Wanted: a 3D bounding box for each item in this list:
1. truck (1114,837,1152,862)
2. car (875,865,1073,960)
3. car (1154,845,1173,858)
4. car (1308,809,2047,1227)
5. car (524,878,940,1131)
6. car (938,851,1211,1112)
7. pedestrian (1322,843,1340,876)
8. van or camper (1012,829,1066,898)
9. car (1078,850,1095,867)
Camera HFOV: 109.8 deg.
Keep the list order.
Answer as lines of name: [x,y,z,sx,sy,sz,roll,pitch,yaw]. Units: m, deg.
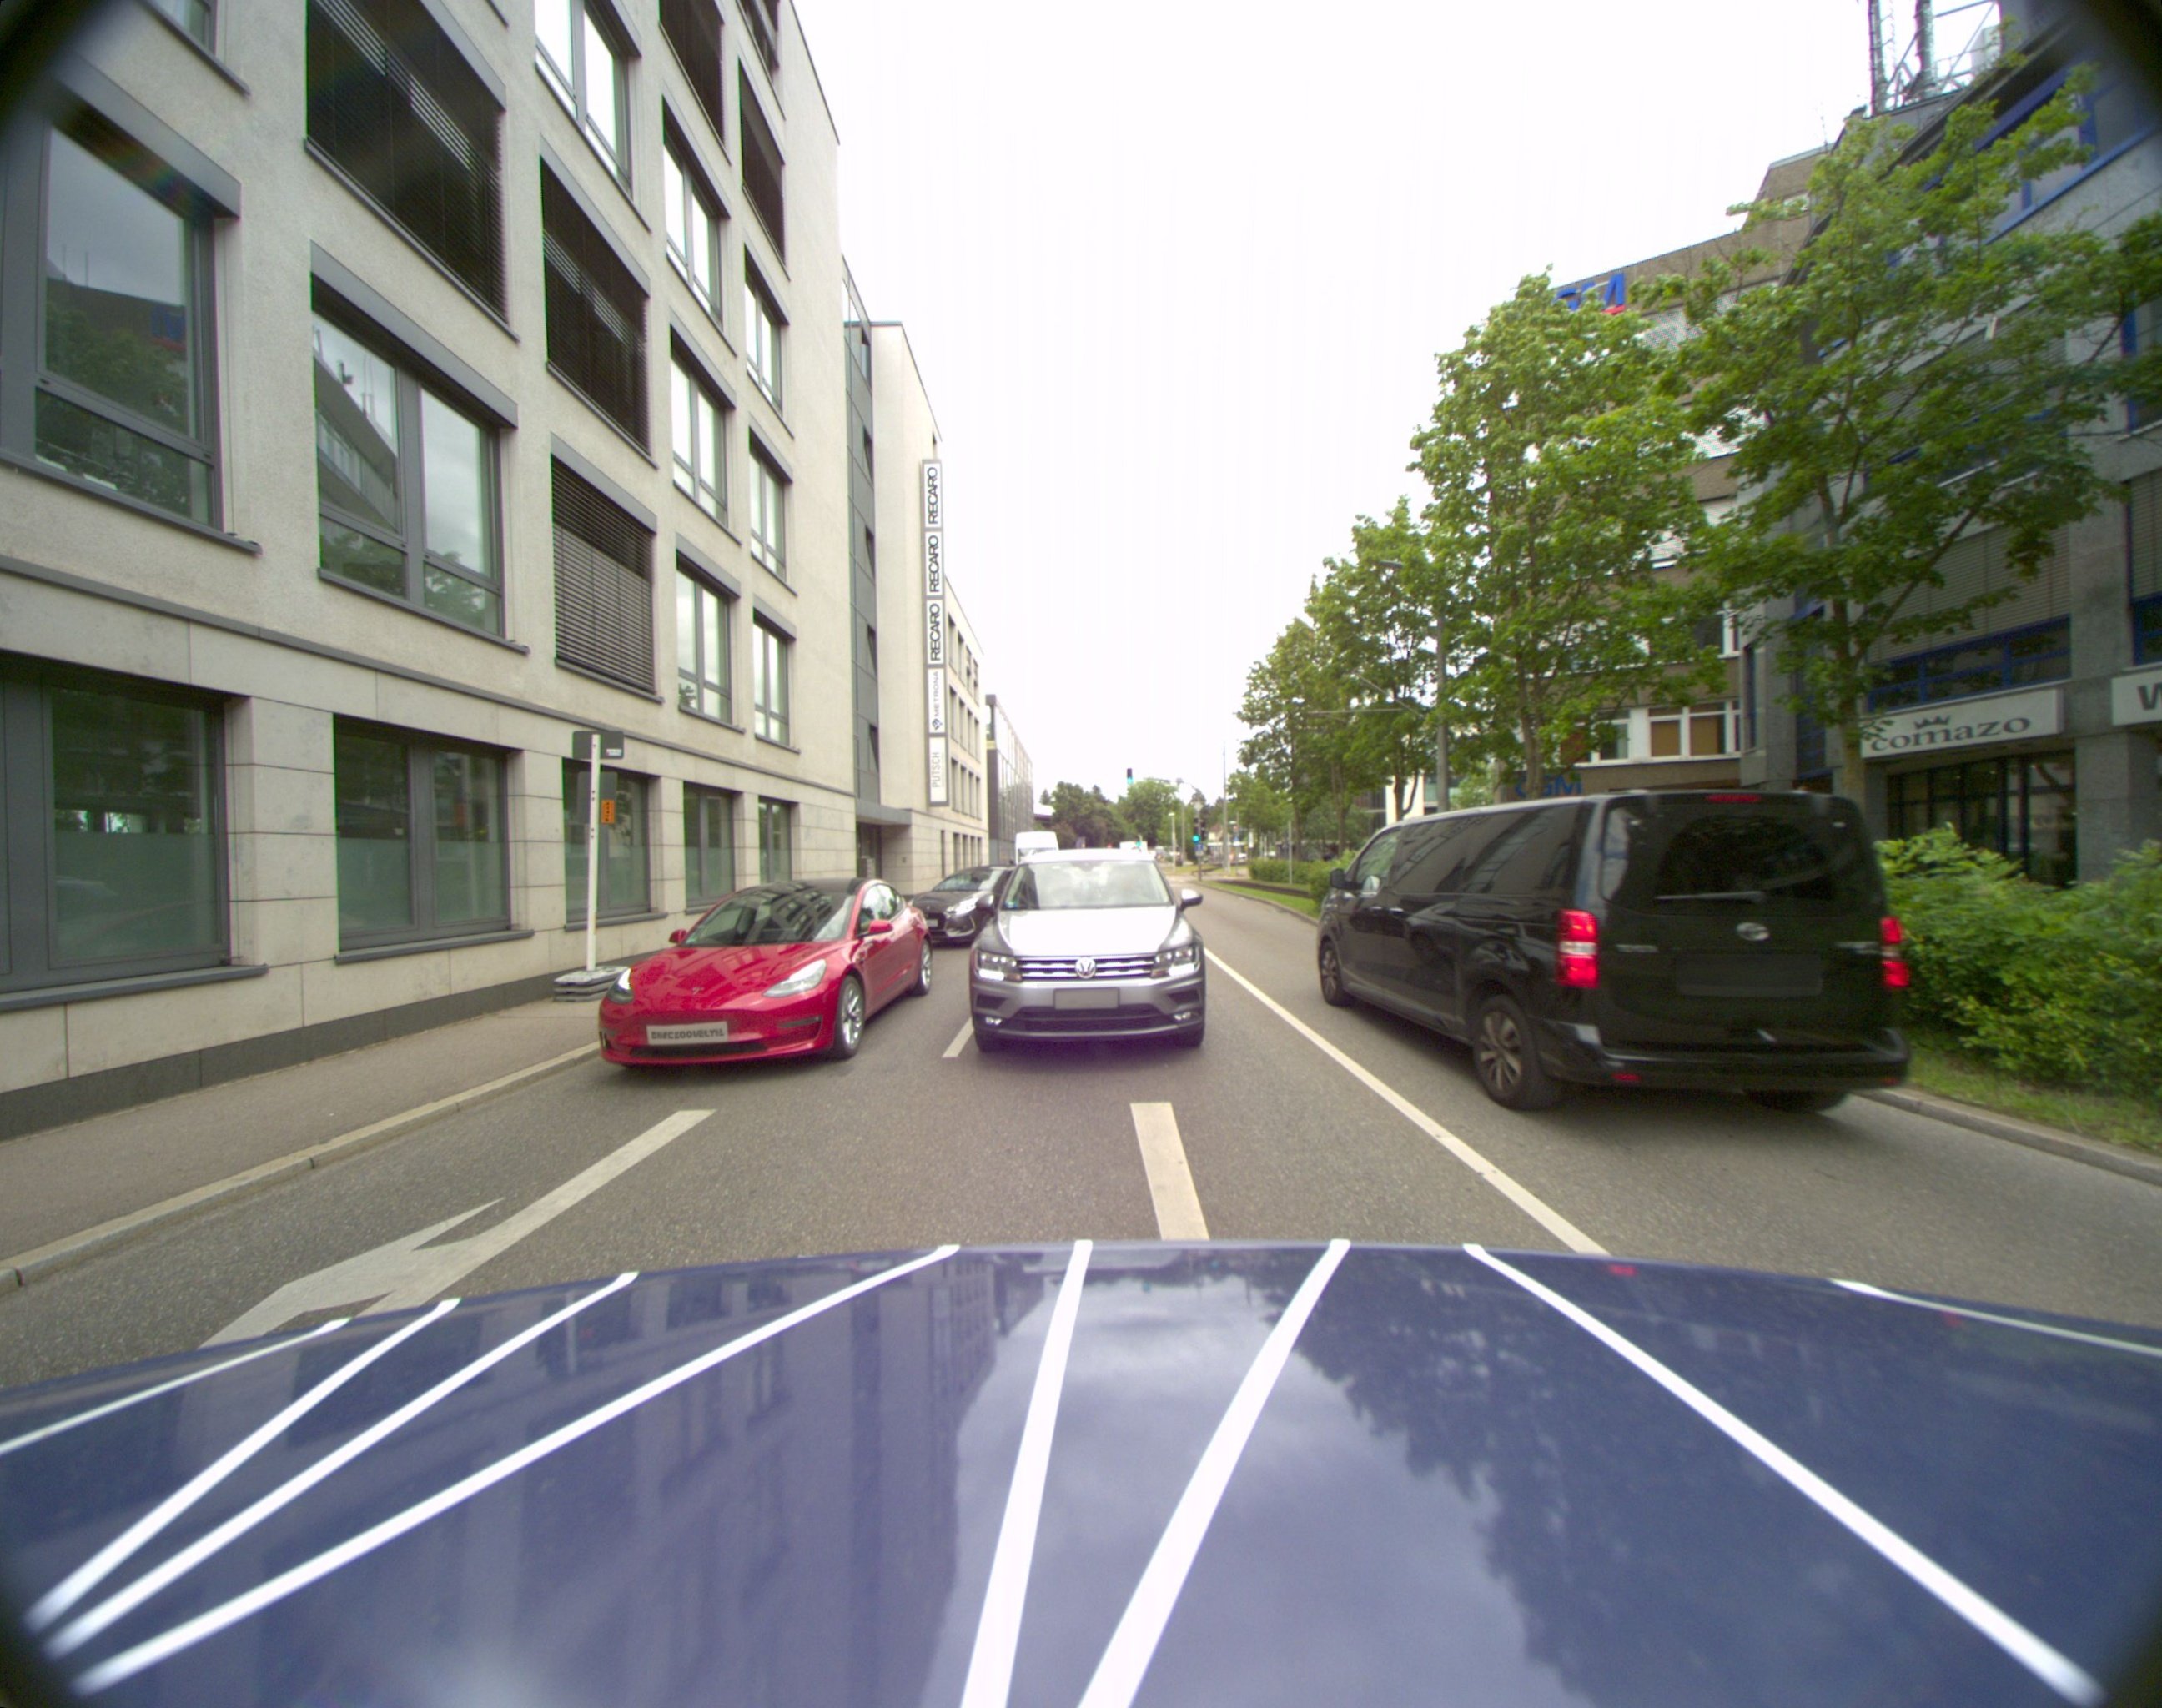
truck: [8.107,-0.693,117.127,2.317,3.626,8.024,-1,1,31]
car: [-1.941,1.036,14.794,1.742,1.449,3.740,-3,0,32]
car: [13.897,-0.448,128.220,1.995,2.002,4.006,-1,1,24]
car: [3.437,0.726,5.866,1.998,1.936,4.736,0,1,1]
car: [-2.728,1.075,7.252,1.825,1.449,4.408,-3,0,1]
car: [-0.012,0.850,7.329,1.798,1.716,4.458,-1,0,1]
pedestrian: [14.881,0.300,45.276,0.816,1.912,0.731,-2,1,0]
van or camper: [-1.941,0.354,34.067,2.113,2.718,6.148,-2,1,-4]
car: [0.696,0.608,96.340,1.998,2.002,4.000,-2,1,1]
